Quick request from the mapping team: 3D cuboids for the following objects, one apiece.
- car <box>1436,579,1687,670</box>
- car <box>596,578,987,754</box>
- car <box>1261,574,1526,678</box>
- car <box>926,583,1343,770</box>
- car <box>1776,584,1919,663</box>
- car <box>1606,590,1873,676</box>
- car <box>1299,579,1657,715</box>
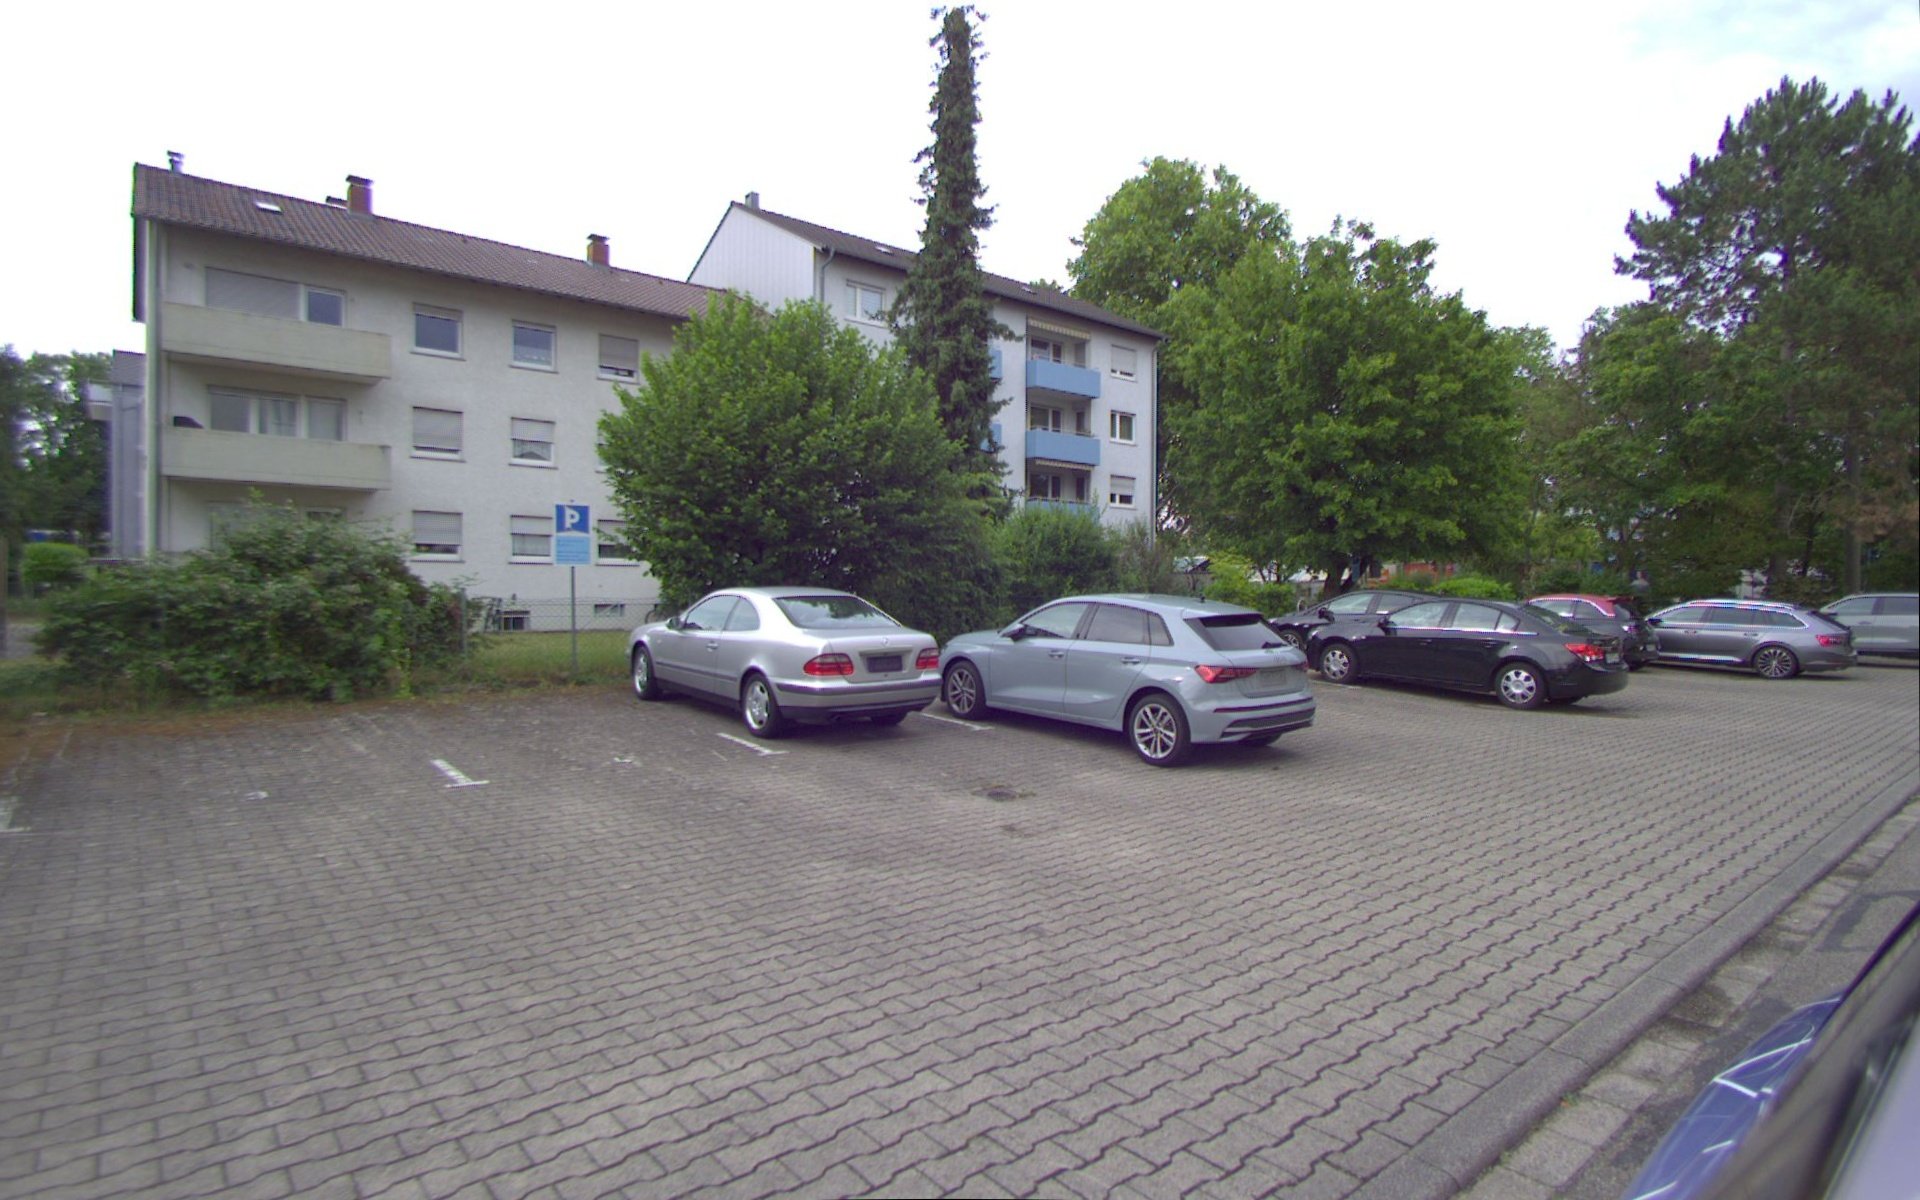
[{"bbox_3d":[12.463,0.432,21.181,1.756,1.503,4.104,0,4,-39],"label":"car"},{"bbox_3d":[-1.953,0.502,10.614,1.992,1.402,4.398,0,2,-42],"label":"car"},{"bbox_3d":[7.856,0.392,18.677,1.756,1.503,4.104,0,4,-39],"label":"car"},{"bbox_3d":[1.582,0.593,10.258,1.702,1.452,3.972,0,2,-42],"label":"car"},{"bbox_3d":[21.009,0.512,22.587,1.756,1.666,4.101,0,2,-41],"label":"car"},{"bbox_3d":[15.976,0.592,20.906,1.756,1.503,4.101,0,2,-41],"label":"car"},{"bbox_3d":[7.464,0.559,14.990,1.756,1.503,4.336,0,4,-39],"label":"car"}]
